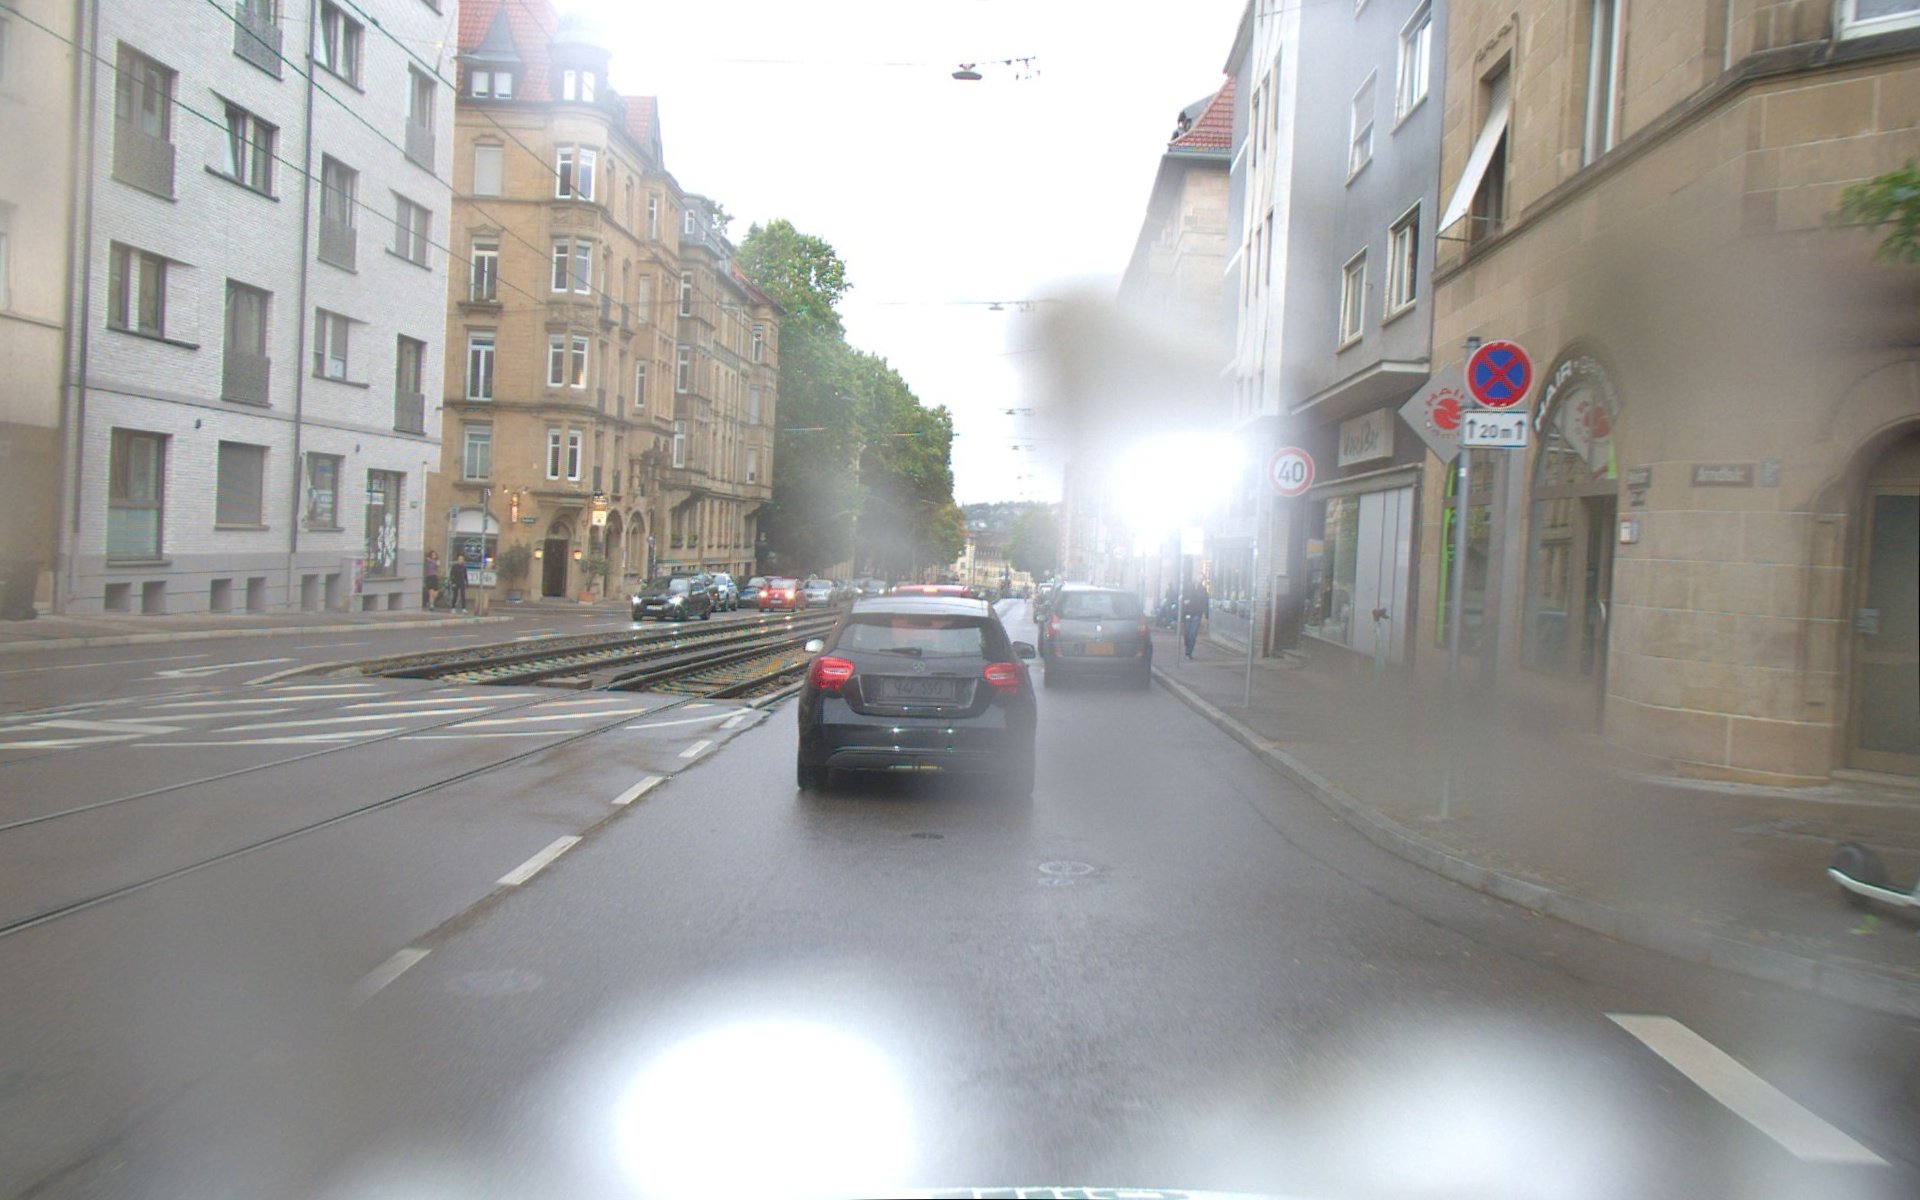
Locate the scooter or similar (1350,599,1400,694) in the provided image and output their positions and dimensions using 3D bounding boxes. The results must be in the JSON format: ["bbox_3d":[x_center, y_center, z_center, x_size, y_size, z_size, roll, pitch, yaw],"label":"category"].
[{"bbox_3d":[5.670,0.619,22.625,0.387,1.237,1.107,2,1,1],"label":"scooter or similar"}]

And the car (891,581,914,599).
[{"bbox_3d":[-4.918,-0.853,141.135,1.536,1.438,3.483,1,1,4],"label":"car"}]

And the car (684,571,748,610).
[{"bbox_3d":[-10.532,-0.415,71.796,1.768,1.624,4.528,1,1,4],"label":"car"}]

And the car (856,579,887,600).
[{"bbox_3d":[-5.989,-0.708,112.501,1.659,1.412,3.483,1,1,4],"label":"car"}]

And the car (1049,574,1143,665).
[{"bbox_3d":[2.721,0.350,33.752,1.648,1.699,4.123,1,1,1],"label":"car"}]

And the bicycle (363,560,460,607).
[{"bbox_3d":[-19.872,-0.599,59.987,3.088,1.612,1.595,1,0,-9],"label":"bicycle"}]

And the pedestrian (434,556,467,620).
[{"bbox_3d":[-14.804,-0.347,48.074,0.627,1.818,0.924,1,-1,2],"label":"pedestrian"}]

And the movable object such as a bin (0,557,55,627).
[{"bbox_3d":[-15.792,-0.142,27.792,0.698,1.092,0.687,5,0,2],"label":"movable object such as a bin"}]

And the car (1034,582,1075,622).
[{"bbox_3d":[3.762,0.062,66.275,1.588,1.510,4.001,1,1,2],"label":"car"}]

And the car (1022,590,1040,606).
[{"bbox_3d":[6.593,-0.200,154.048,1.580,1.340,4.001,1,1,2],"label":"car"}]

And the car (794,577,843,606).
[{"bbox_3d":[-7.260,-0.447,85.153,1.768,1.384,4.765,1,1,4],"label":"car"}]

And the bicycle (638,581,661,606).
[{"bbox_3d":[-12.656,-0.267,67.510,0.586,1.018,2.079,1,1,-2],"label":"bicycle"}]

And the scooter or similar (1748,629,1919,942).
[{"bbox_3d":[4.204,0.774,7.332,0.625,1.231,1.552,1,0,-2],"label":"scooter or similar"}]

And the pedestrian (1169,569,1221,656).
[{"bbox_3d":[5.018,0.259,35.311,0.925,1.800,1.015,2,1,0],"label":"pedestrian"}]

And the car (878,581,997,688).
[{"bbox_3d":[-0.284,0.472,26.061,1.615,1.477,4.001,3,1,2],"label":"car"}]

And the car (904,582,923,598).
[{"bbox_3d":[-4.452,-0.977,158.686,1.536,1.438,3.483,1,1,4],"label":"car"}]

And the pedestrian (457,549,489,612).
[{"bbox_3d":[-14.170,-0.561,48.102,0.616,1.818,0.882,1,-1,2],"label":"pedestrian"}]

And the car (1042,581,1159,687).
[{"bbox_3d":[2.272,0.509,27.766,1.728,1.586,4.747,1,0,2],"label":"car"}]

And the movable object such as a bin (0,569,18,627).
[{"bbox_3d":[-15.932,-0.055,27.098,0.581,0.926,0.560,5,0,2],"label":"movable object such as a bin"}]

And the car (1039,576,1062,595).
[{"bbox_3d":[6.686,-1.082,122.493,1.580,1.340,4.001,1,1,2],"label":"car"}]

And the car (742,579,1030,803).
[{"bbox_3d":[-0.430,0.603,13.389,1.827,1.477,4.002,2,1,4],"label":"car"}]

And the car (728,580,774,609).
[{"bbox_3d":[-10.276,-0.281,81.447,1.536,1.339,3.483,1,1,4],"label":"car"}]

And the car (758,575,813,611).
[{"bbox_3d":[-7.611,-0.320,72.302,1.645,1.523,3.521,1,1,6],"label":"car"}]

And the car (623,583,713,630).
[{"bbox_3d":[-9.348,0.184,53.240,1.907,1.421,4.276,1,1,3],"label":"car"}]
